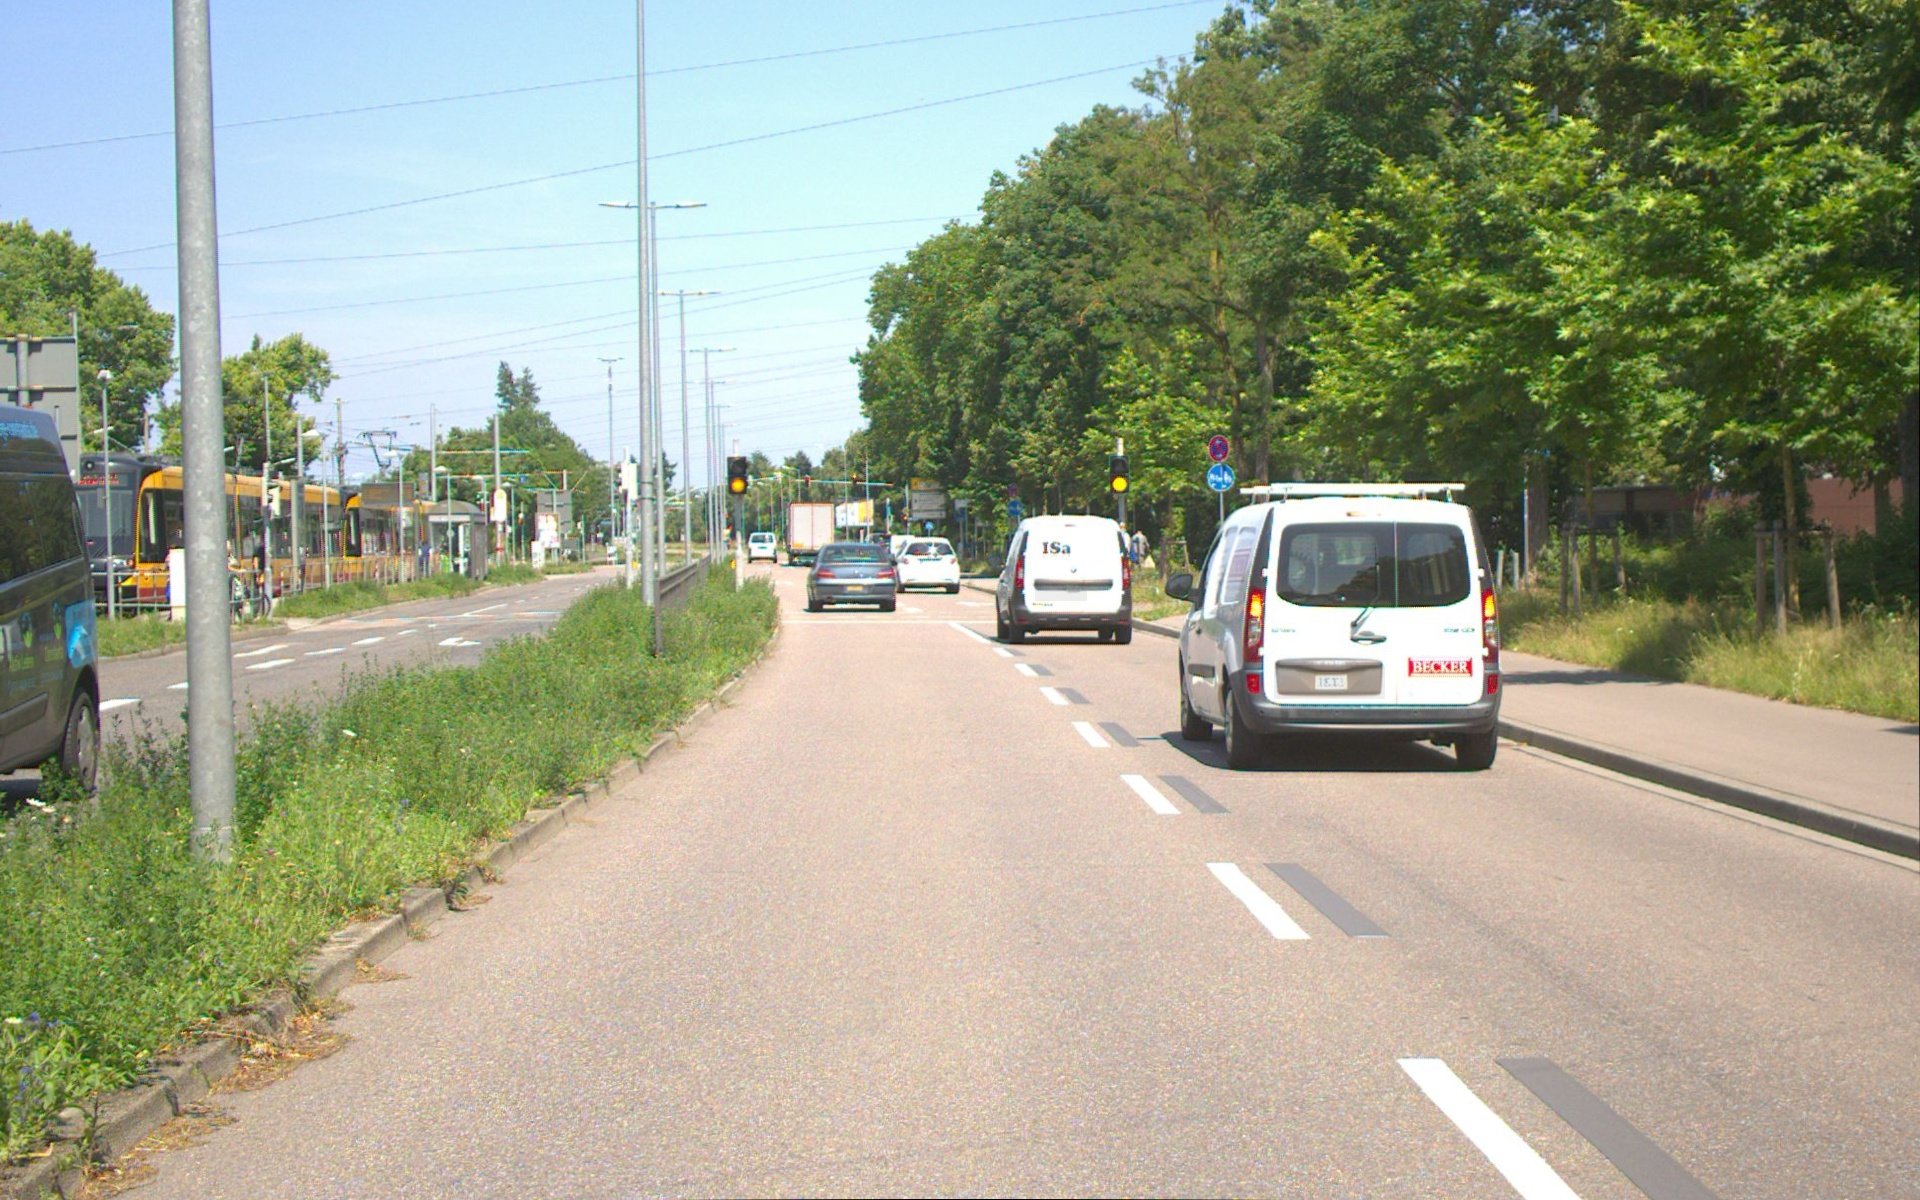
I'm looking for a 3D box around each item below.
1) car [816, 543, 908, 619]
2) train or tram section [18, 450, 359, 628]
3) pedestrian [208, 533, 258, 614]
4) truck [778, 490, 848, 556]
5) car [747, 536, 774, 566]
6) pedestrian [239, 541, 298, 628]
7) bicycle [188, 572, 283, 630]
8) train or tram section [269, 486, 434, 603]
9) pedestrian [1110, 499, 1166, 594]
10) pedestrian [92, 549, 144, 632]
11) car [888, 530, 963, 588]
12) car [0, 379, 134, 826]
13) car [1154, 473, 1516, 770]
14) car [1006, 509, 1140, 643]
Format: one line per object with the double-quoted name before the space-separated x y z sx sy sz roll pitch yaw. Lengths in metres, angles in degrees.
"car" -2.018 -0.410 69.900 1.801 1.481 4.001 -1 1 -2
"train or tram section" -19.228 -1.513 89.853 2.787 3.655 37.523 0 1 -4
"pedestrian" -14.634 -0.535 69.238 0.819 1.623 0.705 0 1 2
"truck" -8.888 -4.566 206.268 3.898 3.800 10.794 -1 1 -4
"car" -12.952 -3.156 222.599 1.687 1.891 3.871 -1 1 -4
"pedestrian" -14.297 -0.325 71.066 0.959 1.790 0.704 0 1 26
"bicycle" -14.568 0.019 69.138 1.863 1.153 0.242 0 1 2
"train or tram section" -21.194 -1.930 121.569 2.787 3.655 26.003 0 1 -4
"pedestrian" 3.490 -1.047 67.367 1.046 1.844 0.757 0 0 8
"pedestrian" -15.756 -0.184 64.345 0.868 1.535 0.536 0 1 42
"car" -0.975 -1.128 94.340 1.803 1.534 4.001 0 1 -4
"car" -6.096 0.026 18.747 1.993 2.358 5.373 -2 1 -2
"car" 2.502 0.105 23.981 1.824 1.875 4.456 0 1 -3
"car" 1.568 -0.372 48.878 1.728 1.807 4.000 0 1 -1
